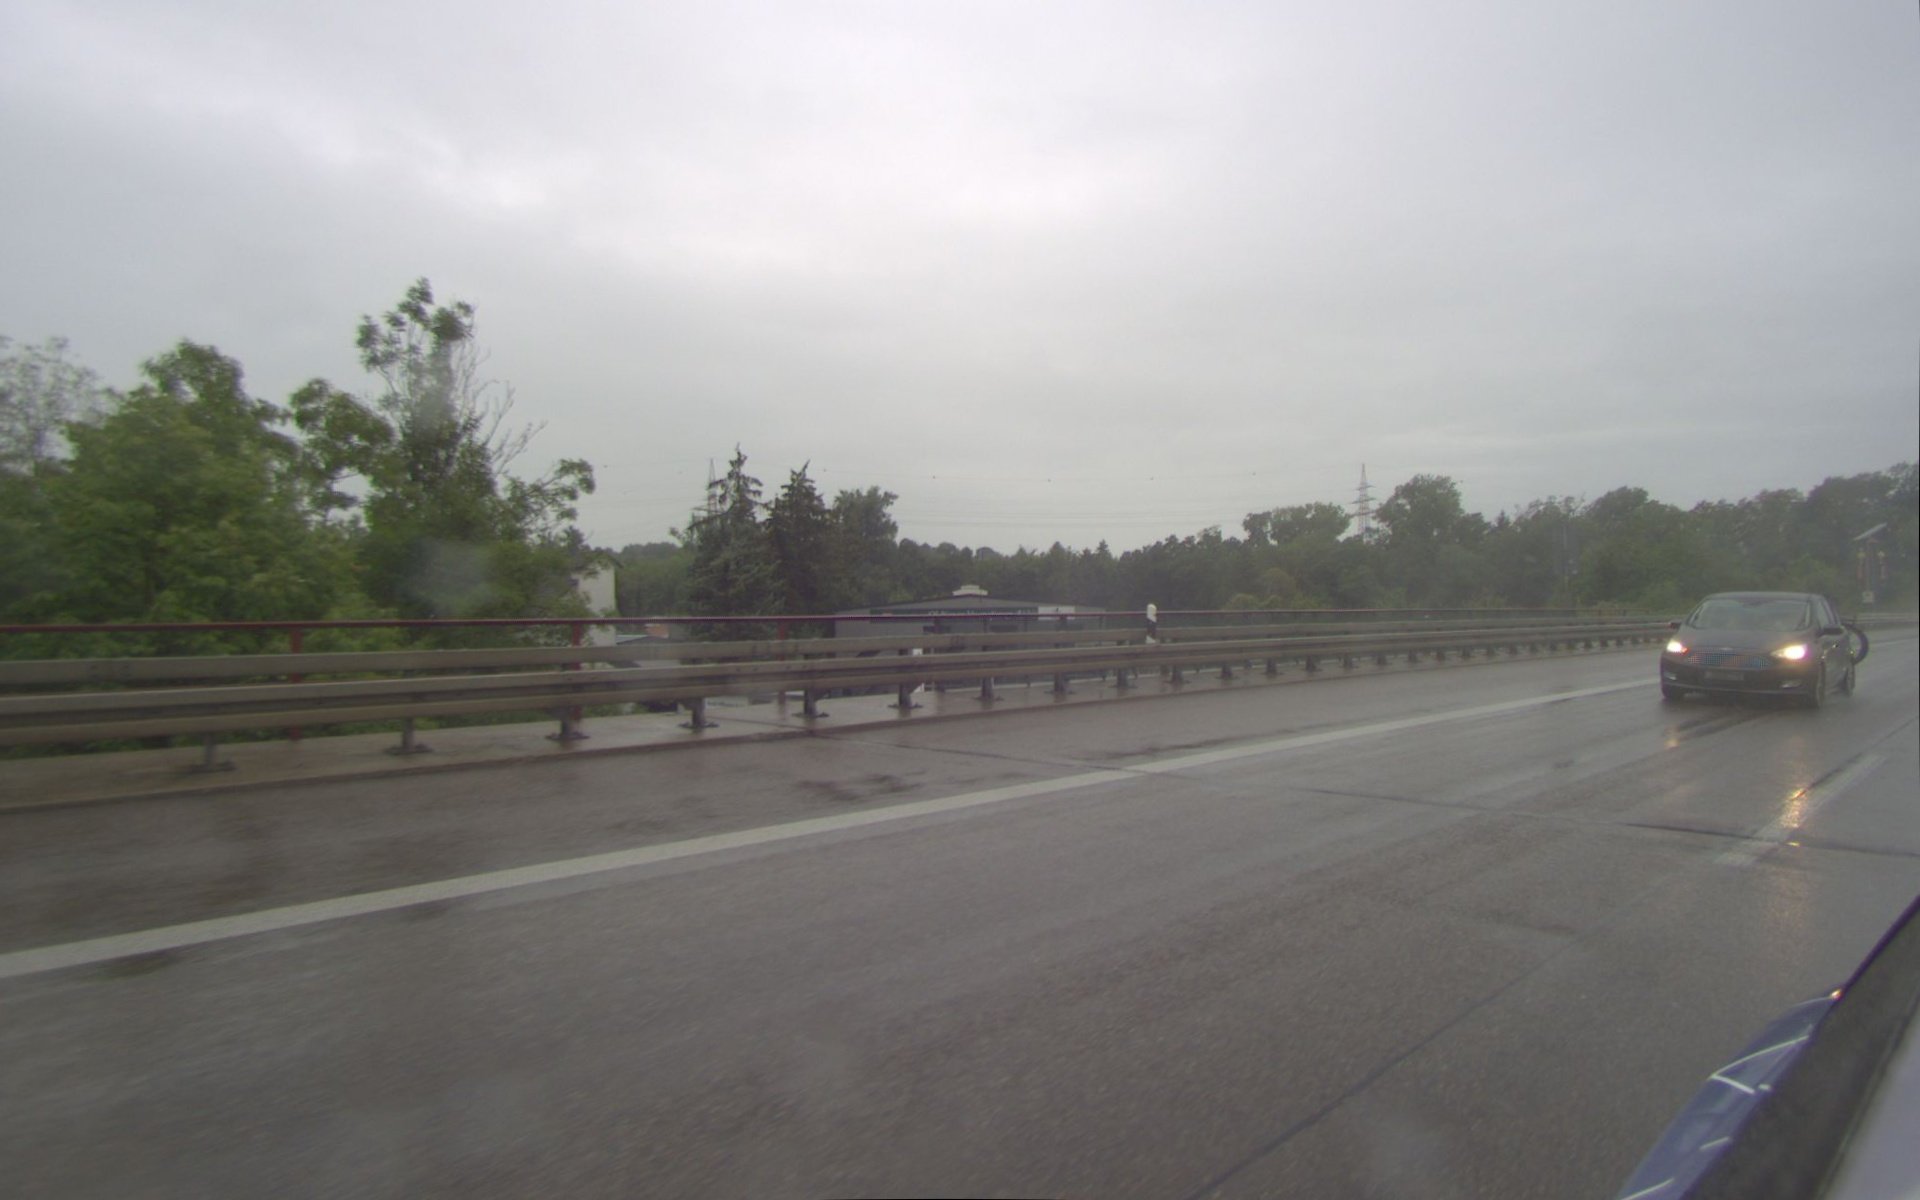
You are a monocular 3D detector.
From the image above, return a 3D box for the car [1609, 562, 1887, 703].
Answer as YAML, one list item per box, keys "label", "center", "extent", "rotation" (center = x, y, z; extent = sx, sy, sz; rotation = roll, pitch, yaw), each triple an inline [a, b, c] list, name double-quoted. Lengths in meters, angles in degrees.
- label: "car"
  center: [12.223, 0.396, 15.522]
  extent: [5.621, 1.768, 2.461]
  rotation: [0, 0, -42]
